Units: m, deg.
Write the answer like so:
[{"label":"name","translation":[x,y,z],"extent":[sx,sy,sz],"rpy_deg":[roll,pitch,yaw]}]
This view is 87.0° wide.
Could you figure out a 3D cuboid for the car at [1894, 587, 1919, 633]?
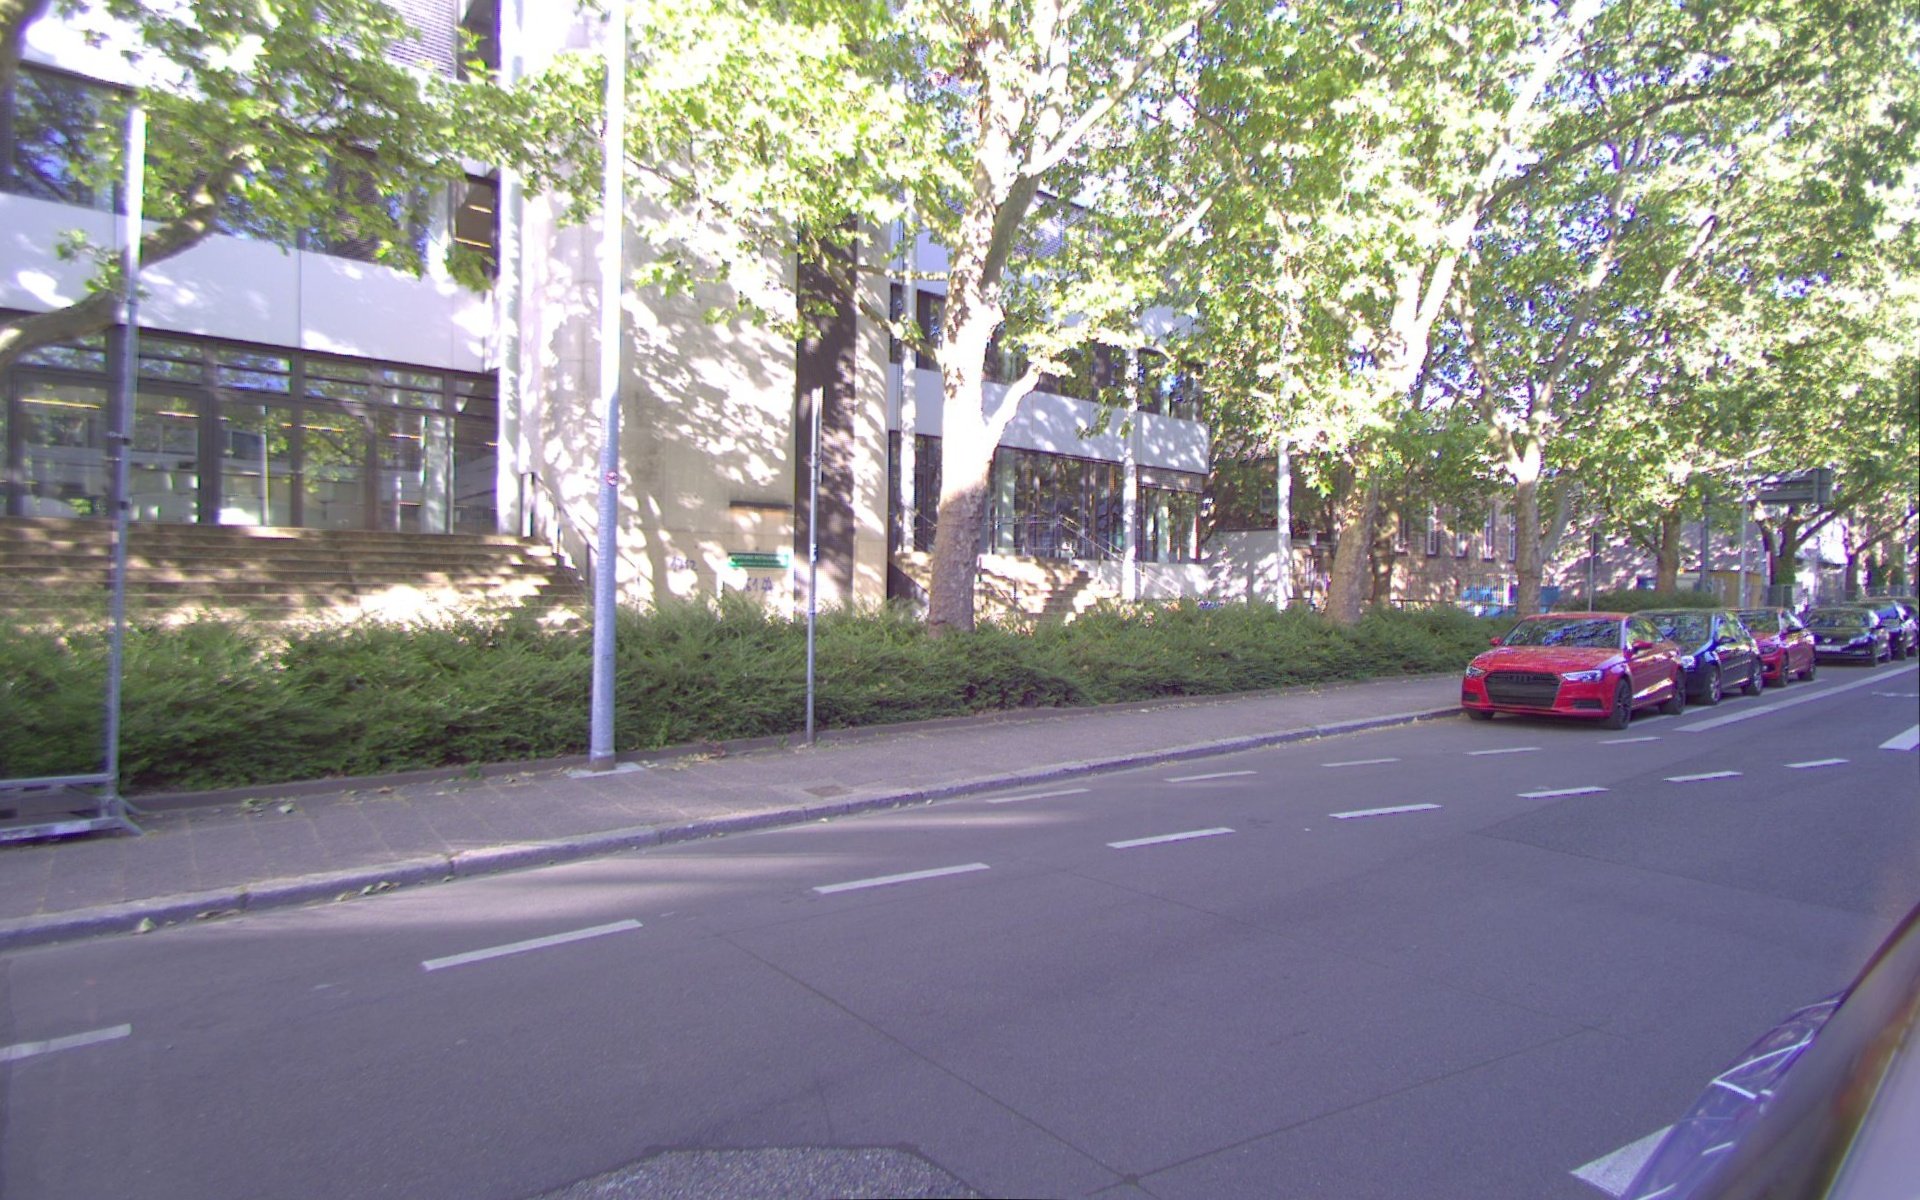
[{"label":"car","translation":[35.741,0.361,37.077],"extent":[4.004,1.638,1.797],"rpy_deg":[0,1,-41]}]

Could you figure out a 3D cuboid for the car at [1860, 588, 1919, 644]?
[{"label":"car","translation":[31.083,0.480,33.055],"extent":[4.188,1.747,1.997],"rpy_deg":[-1,0,-41]}]

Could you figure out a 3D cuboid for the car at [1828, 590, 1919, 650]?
[{"label":"car","translation":[26.648,0.523,29.194],"extent":[4.158,1.601,1.847],"rpy_deg":[0,1,-41]}]

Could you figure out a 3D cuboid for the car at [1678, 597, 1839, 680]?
[{"label":"car","translation":[15.799,0.683,19.970],"extent":[3.930,1.456,1.789],"rpy_deg":[0,1,-41]}]

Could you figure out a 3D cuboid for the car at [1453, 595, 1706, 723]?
[{"label":"car","translation":[8.328,0.674,13.460],"extent":[4.101,1.443,1.773],"rpy_deg":[0,-1,-42]}]

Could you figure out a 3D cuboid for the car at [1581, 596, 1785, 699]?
[{"label":"car","translation":[11.963,0.687,16.667],"extent":[3.929,1.476,1.812],"rpy_deg":[0,1,-40]}]

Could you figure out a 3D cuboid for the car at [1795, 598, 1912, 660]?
[{"label":"car","translation":[22.985,0.679,25.997],"extent":[3.930,1.456,1.744],"rpy_deg":[0,1,-41]}]
